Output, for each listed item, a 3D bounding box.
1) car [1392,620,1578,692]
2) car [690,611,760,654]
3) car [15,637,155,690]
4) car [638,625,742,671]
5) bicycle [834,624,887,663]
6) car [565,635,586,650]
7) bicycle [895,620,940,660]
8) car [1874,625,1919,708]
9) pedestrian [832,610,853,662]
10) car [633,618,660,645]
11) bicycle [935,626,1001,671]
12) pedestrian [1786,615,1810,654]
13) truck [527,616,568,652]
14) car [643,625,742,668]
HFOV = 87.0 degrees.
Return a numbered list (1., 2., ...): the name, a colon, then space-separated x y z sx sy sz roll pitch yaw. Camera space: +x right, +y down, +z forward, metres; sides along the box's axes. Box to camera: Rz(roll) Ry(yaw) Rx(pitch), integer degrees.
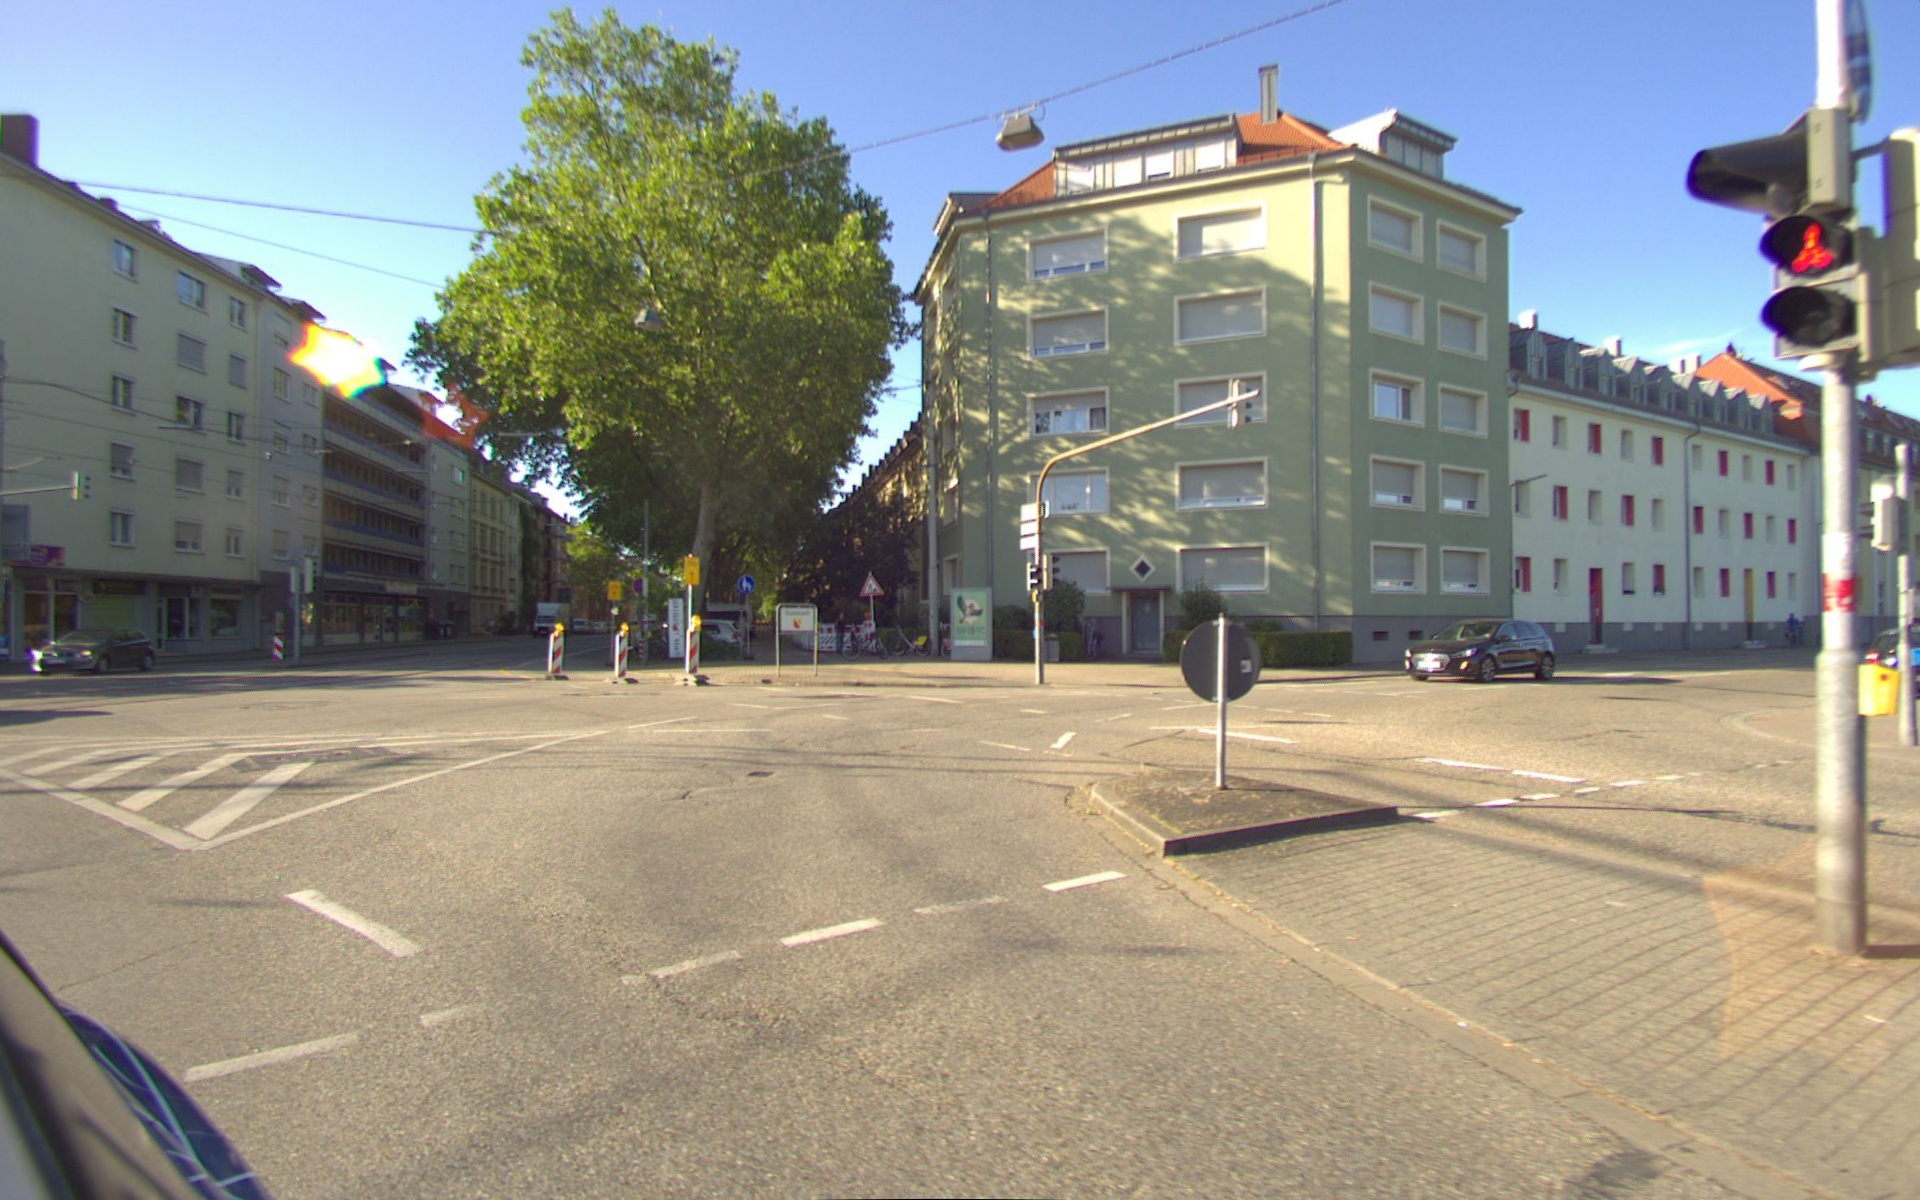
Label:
1. car: 12.307 1.296 23.694 4.136 1.505 1.947 0 -4 -32
2. car: -15.484 2.116 66.758 4.349 2.646 1.974 -2 0 -11
3. car: -26.690 1.918 31.016 1.675 1.452 3.654 -3 -2 -12
4. car: -11.218 1.994 42.312 4.082 1.652 1.779 -2 0 -11
5. bicycle: -3.807 1.671 38.791 2.022 1.473 0.726 0 0 -4
6. car: -41.518 4.566 109.344 1.674 1.452 3.656 -3 -1 -14
7. bicycle: -1.581 1.452 37.256 0.762 1.390 2.059 0 0 -32
8. car: 19.676 1.229 19.837 3.837 1.542 1.704 1 -6 -36
9. pedestrian: -4.629 1.392 39.857 0.687 1.978 0.928 -2 0 -3
10. car: -28.873 2.874 93.236 1.937 2.286 4.433 -2 0 -12
11. bicycle: 0.259 1.576 33.301 2.038 1.390 0.769 0 0 21
12. pedestrian: 42.492 1.732 51.307 0.733 1.887 0.742 -2 3 -35
13. truck: -37.727 3.020 92.725 2.305 2.994 8.054 -2 0 -14
14. car: -11.735 2.014 44.636 4.082 1.652 1.779 -2 0 -11
